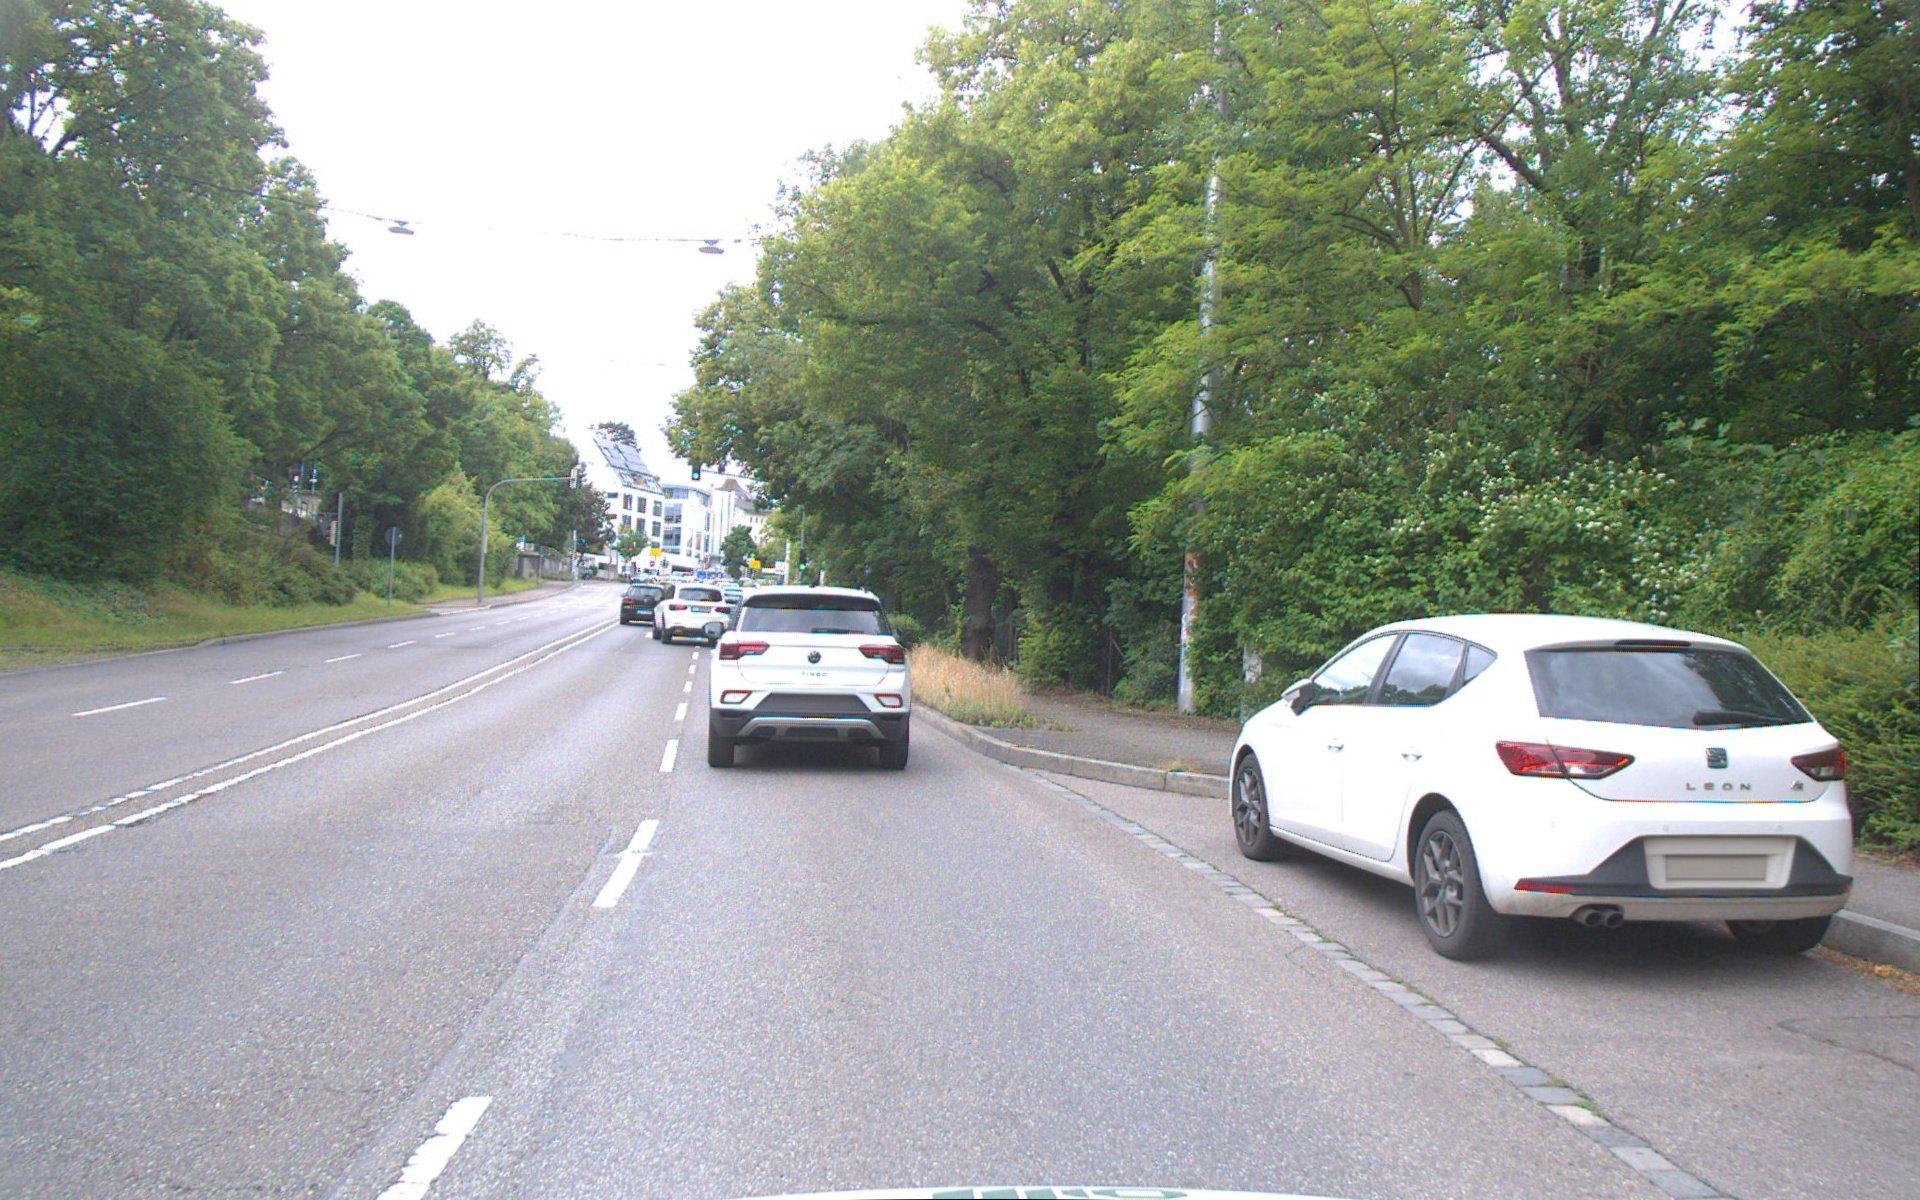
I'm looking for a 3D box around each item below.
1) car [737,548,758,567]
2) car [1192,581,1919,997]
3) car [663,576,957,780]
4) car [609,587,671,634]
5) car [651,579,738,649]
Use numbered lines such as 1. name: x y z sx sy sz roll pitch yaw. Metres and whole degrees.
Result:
1. car: -20.009 -3.983 155.562 1.677 1.617 3.997 2 1 -5
2. car: 2.698 0.712 8.647 1.700 1.508 4.694 2 1 -8
3. car: -1.545 0.625 15.435 1.969 1.624 3.981 0 0 -17
4. car: -11.441 0.345 59.308 1.913 1.491 3.993 2 1 -8
5. car: -7.375 0.345 45.657 1.822 1.732 3.981 1 2 -17
